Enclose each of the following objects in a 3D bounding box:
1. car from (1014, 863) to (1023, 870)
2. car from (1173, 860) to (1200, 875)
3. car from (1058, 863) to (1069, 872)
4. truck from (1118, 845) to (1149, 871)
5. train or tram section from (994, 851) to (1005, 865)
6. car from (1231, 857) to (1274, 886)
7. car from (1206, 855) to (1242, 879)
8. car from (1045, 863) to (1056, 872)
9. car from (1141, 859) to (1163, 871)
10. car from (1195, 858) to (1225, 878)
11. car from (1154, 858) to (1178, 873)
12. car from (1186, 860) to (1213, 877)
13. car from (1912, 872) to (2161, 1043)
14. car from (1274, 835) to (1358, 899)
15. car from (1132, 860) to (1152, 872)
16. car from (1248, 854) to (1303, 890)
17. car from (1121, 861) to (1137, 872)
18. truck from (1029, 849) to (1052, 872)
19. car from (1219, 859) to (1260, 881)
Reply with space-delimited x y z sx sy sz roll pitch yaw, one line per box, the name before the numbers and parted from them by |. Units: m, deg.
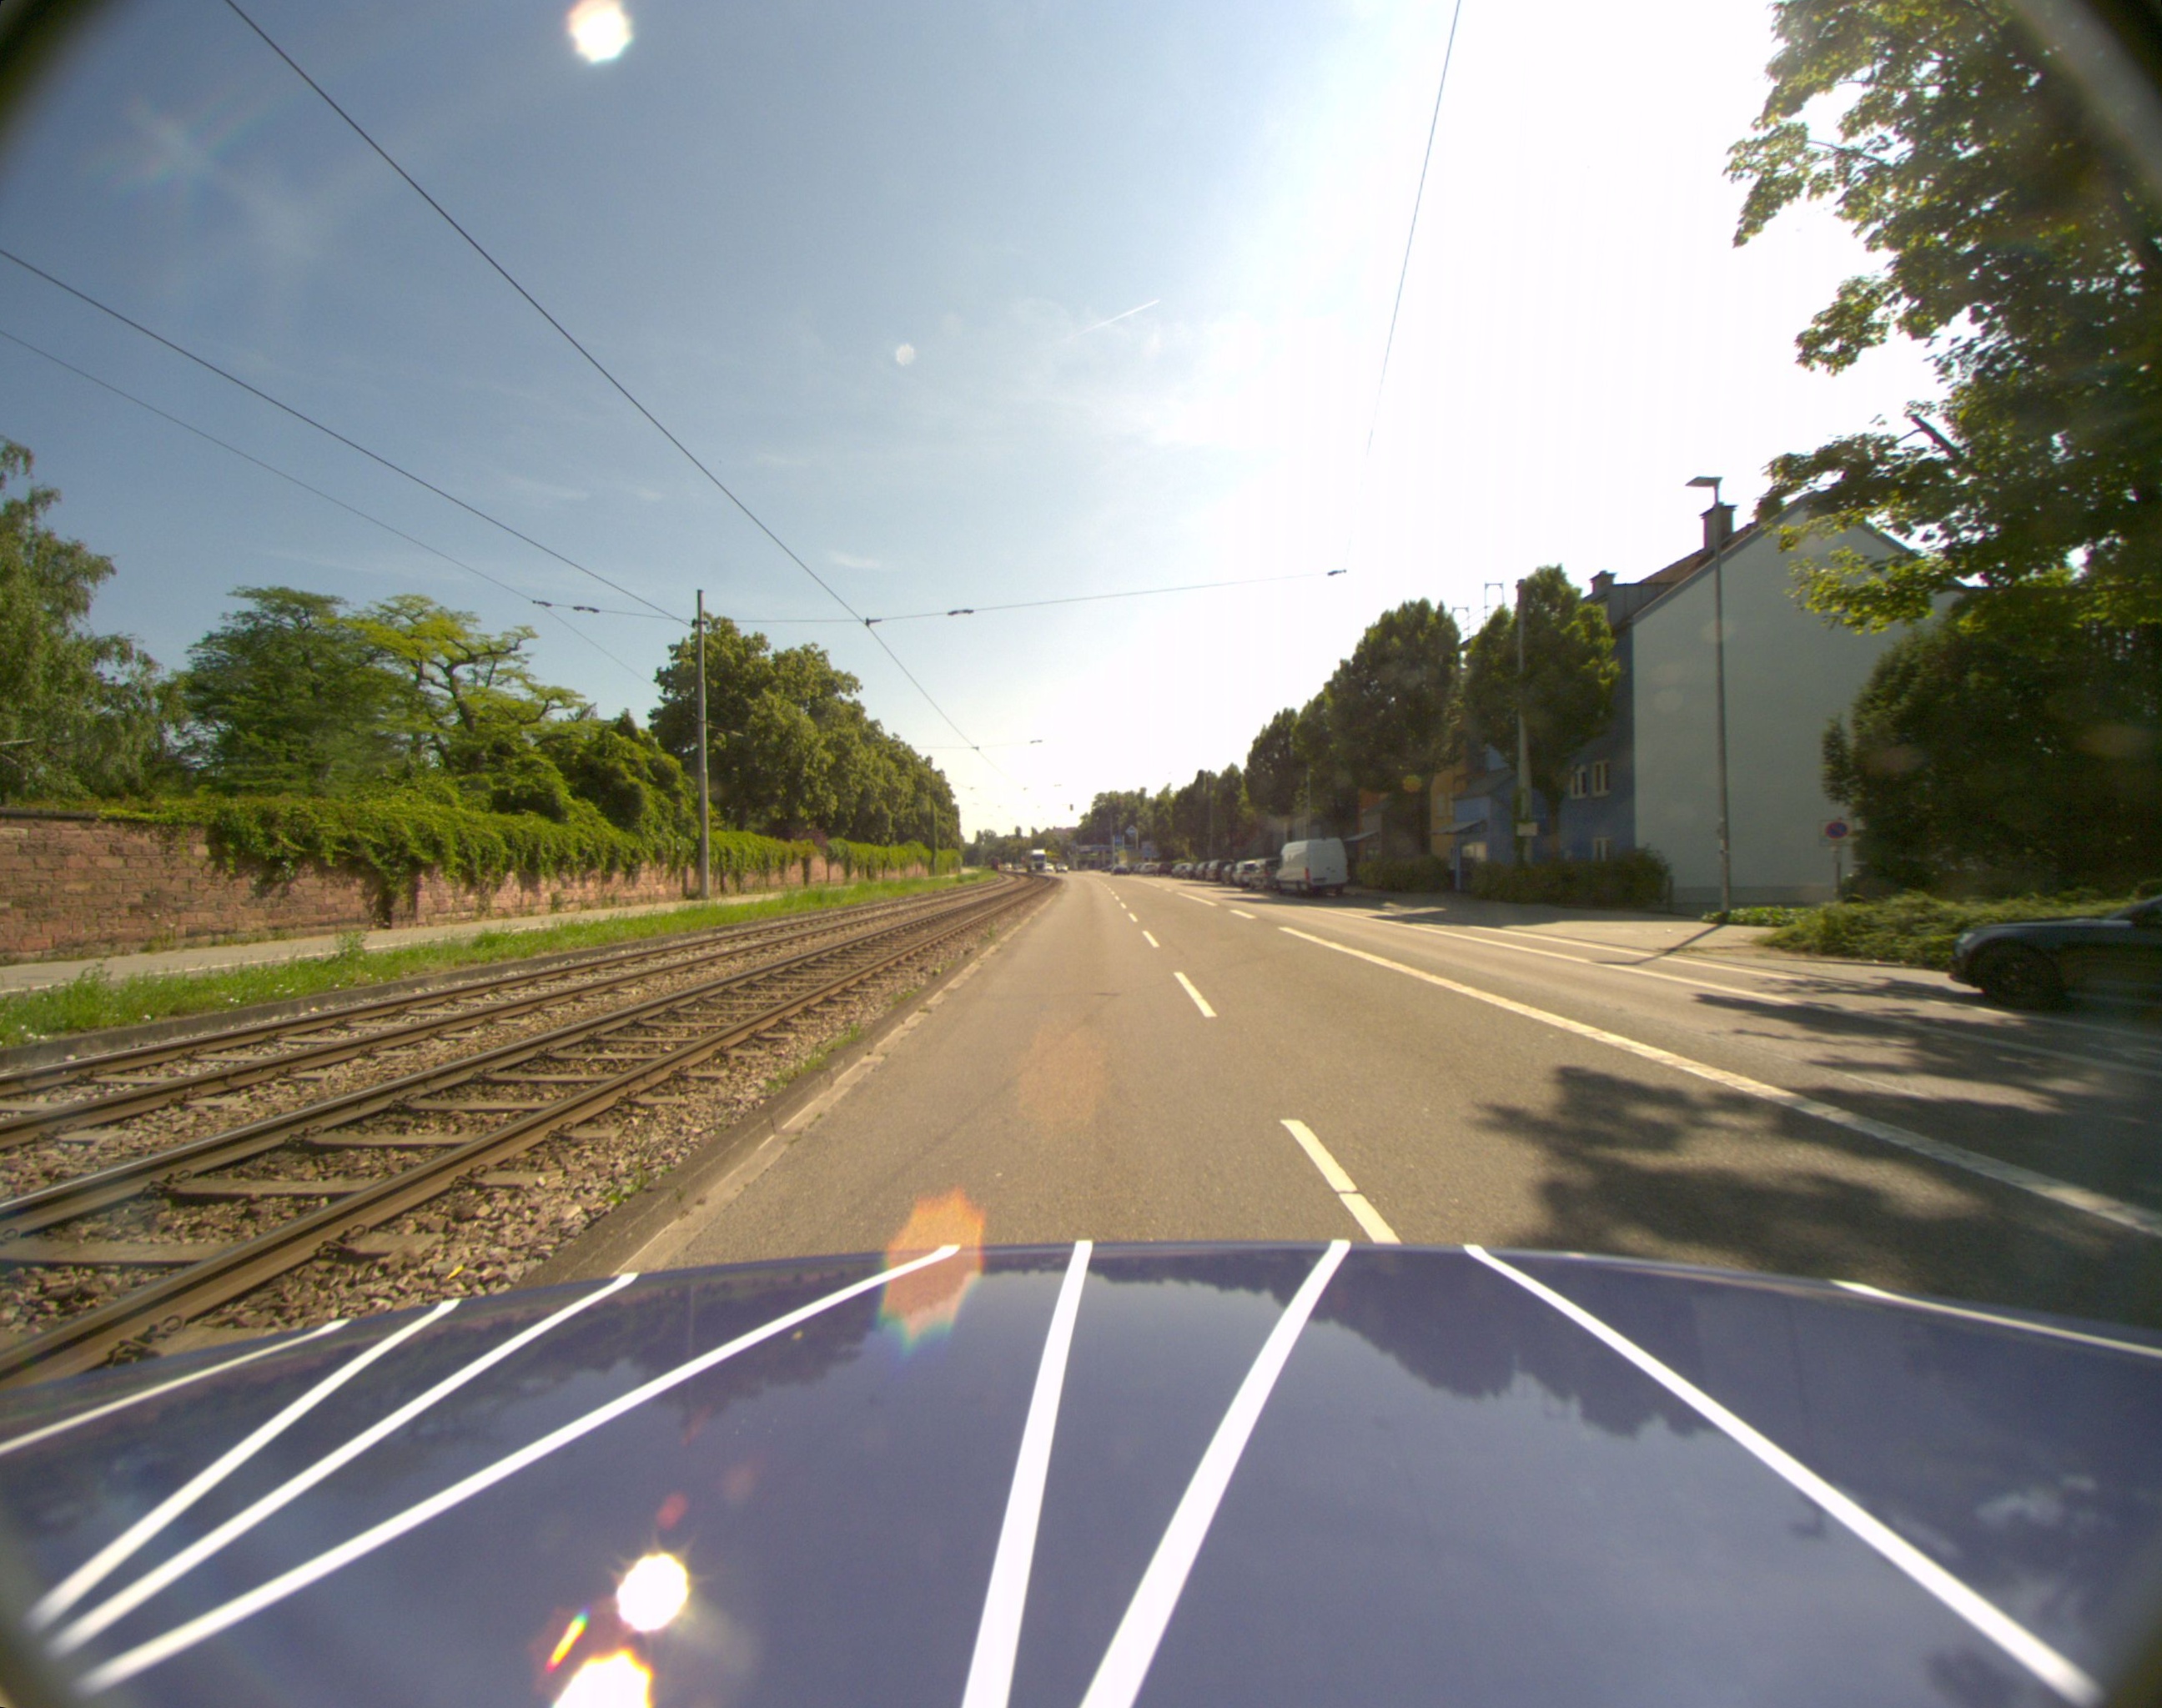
car | -16.196 3.199 196.518 1.854 1.707 3.999 -3 1 -1
car | 10.981 1.374 79.643 1.682 1.437 4.835 -2 0 -5
car | -2.823 2.221 124.673 1.748 1.421 5.041 -2 0 -1
truck | 7.607 0.569 110.928 3.165 3.533 8.781 -1 0 -5
train or tram section | -23.359 1.105 219.261 2.722 3.715 18.870 -2 0 -5
car | 11.407 1.107 50.772 1.852 1.693 4.540 -4 0 2
car | 11.457 1.024 61.247 1.834 1.718 4.349 -3 0 -2
car | -5.954 2.593 147.464 1.785 1.538 4.392 -2 0 -4
car | 9.205 1.399 98.676 2.040 1.490 4.131 -2 0 -5
car | 11.232 1.213 66.574 1.681 1.598 4.165 -2 0 -2
car | 10.132 1.345 90.721 1.910 1.567 4.929 -2 0 -5
car | 11.273 1.358 72.713 1.681 1.461 4.213 -2 0 -2
car | 10.549 0.939 6.301 1.845 1.457 4.909 -1 0 -2
car | 11.294 0.594 37.167 1.998 2.661 7.087 -4 0 2
car | 8.303 1.596 103.307 1.915 1.469 4.214 -2 0 -5
car | 11.481 1.039 45.234 1.998 1.855 4.967 -5 0 1
car | 5.556 1.410 87.898 1.691 1.237 4.065 -1 0 1
truck | -7.185 1.096 133.443 2.807 3.926 11.935 0 0 -8
car | 11.673 1.149 56.194 1.871 1.446 4.075 -4 0 -2
